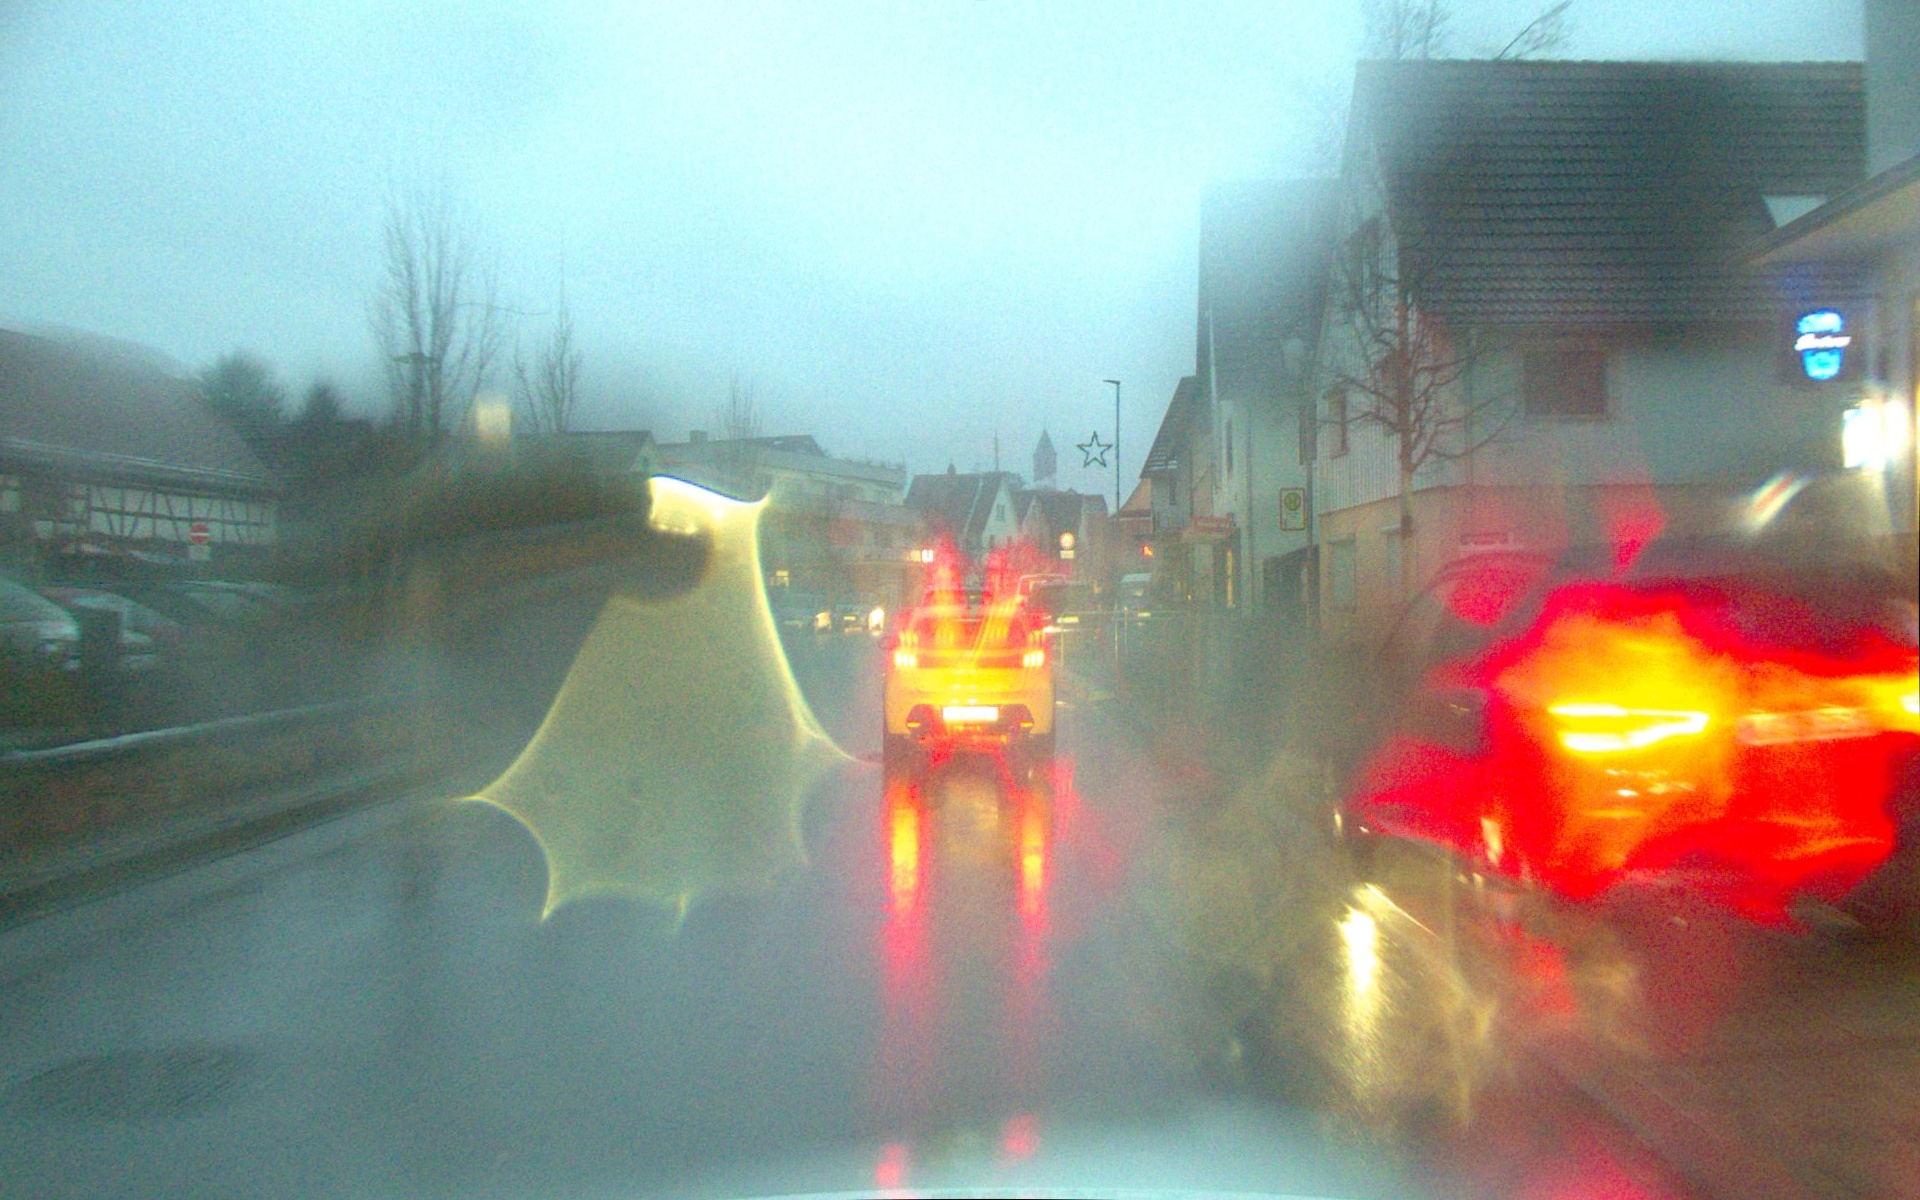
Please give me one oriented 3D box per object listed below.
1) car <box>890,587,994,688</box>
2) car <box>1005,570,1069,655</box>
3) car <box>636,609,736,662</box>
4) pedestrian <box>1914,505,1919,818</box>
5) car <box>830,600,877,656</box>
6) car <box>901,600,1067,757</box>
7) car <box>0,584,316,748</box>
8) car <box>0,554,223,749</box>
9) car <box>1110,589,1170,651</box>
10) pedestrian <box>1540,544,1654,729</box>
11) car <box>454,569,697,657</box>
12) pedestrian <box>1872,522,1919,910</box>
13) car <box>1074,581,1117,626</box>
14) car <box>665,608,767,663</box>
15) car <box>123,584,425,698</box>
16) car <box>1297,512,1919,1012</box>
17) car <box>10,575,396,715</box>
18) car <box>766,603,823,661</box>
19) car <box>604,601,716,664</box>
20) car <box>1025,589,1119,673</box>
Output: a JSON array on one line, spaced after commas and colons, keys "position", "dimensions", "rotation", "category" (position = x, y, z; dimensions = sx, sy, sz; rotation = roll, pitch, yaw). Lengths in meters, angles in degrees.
[{"position": [-0.270, 0.632, 29.658], "dimensions": [1.730, 1.657, 3.586], "rotation": [1, 0, 1], "category": "car"}, {"position": [2.392, 0.456, 52.321], "dimensions": [1.832, 2.512, 4.443], "rotation": [1, -2, 0], "category": "car"}, {"position": [-11.025, 1.426, 66.423], "dimensions": [4.097, 2.011, 1.810], "rotation": [-1, -3, 44], "category": "car"}, {"position": [5.641, 0.337, 9.028], "dimensions": [0.605, 1.757, 0.502], "rotation": [1, -3, 11], "category": "pedestrian"}, {"position": [-4.497, 1.240, 70.528], "dimensions": [1.881, 2.254, 3.972], "rotation": [1, -2, -3], "category": "car"}, {"position": [0.207, 0.739, 16.966], "dimensions": [1.531, 1.437, 3.017], "rotation": [1, 0, -1], "category": "car"}, {"position": [-9.443, 0.682, 18.086], "dimensions": [4.110, 1.681, 1.680], "rotation": [1, -1, 3], "category": "car"}, {"position": [-9.561, 0.447, 15.323], "dimensions": [4.533, 1.697, 1.999], "rotation": [1, -1, -3], "category": "car"}, {"position": [7.014, 0.815, 64.824], "dimensions": [1.952, 2.288, 4.000], "rotation": [1, -2, 1], "category": "car"}, {"position": [5.484, 0.296, 14.263], "dimensions": [0.608, 1.542, 0.731], "rotation": [0, 1, -14], "category": "pedestrian"}, {"position": [-9.006, 0.302, 38.811], "dimensions": [5.281, 1.849, 1.713], "rotation": [2, -1, 13], "category": "car"}, {"position": [4.538, 0.511, 7.332], "dimensions": [0.561, 1.729, 0.653], "rotation": [-2, -1, 0], "category": "pedestrian"}, {"position": [6.280, 0.211, 76.368], "dimensions": [1.830, 1.867, 4.446], "rotation": [1, -2, 6], "category": "car"}, {"position": [-10.259, 1.511, 69.334], "dimensions": [4.310, 2.204, 1.987], "rotation": [-1, -3, 43], "category": "car"}, {"position": [-9.560, 0.566, 23.224], "dimensions": [3.470, 1.472, 1.710], "rotation": [1, -1, 3], "category": "car"}, {"position": [2.974, 0.567, 7.949], "dimensions": [1.700, 1.722, 4.385], "rotation": [-1, 0, -2], "category": "car"}, {"position": [-9.426, 0.542, 20.783], "dimensions": [4.079, 1.673, 1.659], "rotation": [0, -1, 3], "category": "car"}, {"position": [-6.199, 1.251, 62.344], "dimensions": [1.881, 2.063, 3.972], "rotation": [1, -2, -3], "category": "car"}, {"position": [-11.441, 1.237, 62.911], "dimensions": [4.310, 2.291, 1.987], "rotation": [-1, -3, 43], "category": "car"}, {"position": [2.640, 0.730, 39.950], "dimensions": [1.957, 1.897, 4.082], "rotation": [0, -1, 0], "category": "car"}]
